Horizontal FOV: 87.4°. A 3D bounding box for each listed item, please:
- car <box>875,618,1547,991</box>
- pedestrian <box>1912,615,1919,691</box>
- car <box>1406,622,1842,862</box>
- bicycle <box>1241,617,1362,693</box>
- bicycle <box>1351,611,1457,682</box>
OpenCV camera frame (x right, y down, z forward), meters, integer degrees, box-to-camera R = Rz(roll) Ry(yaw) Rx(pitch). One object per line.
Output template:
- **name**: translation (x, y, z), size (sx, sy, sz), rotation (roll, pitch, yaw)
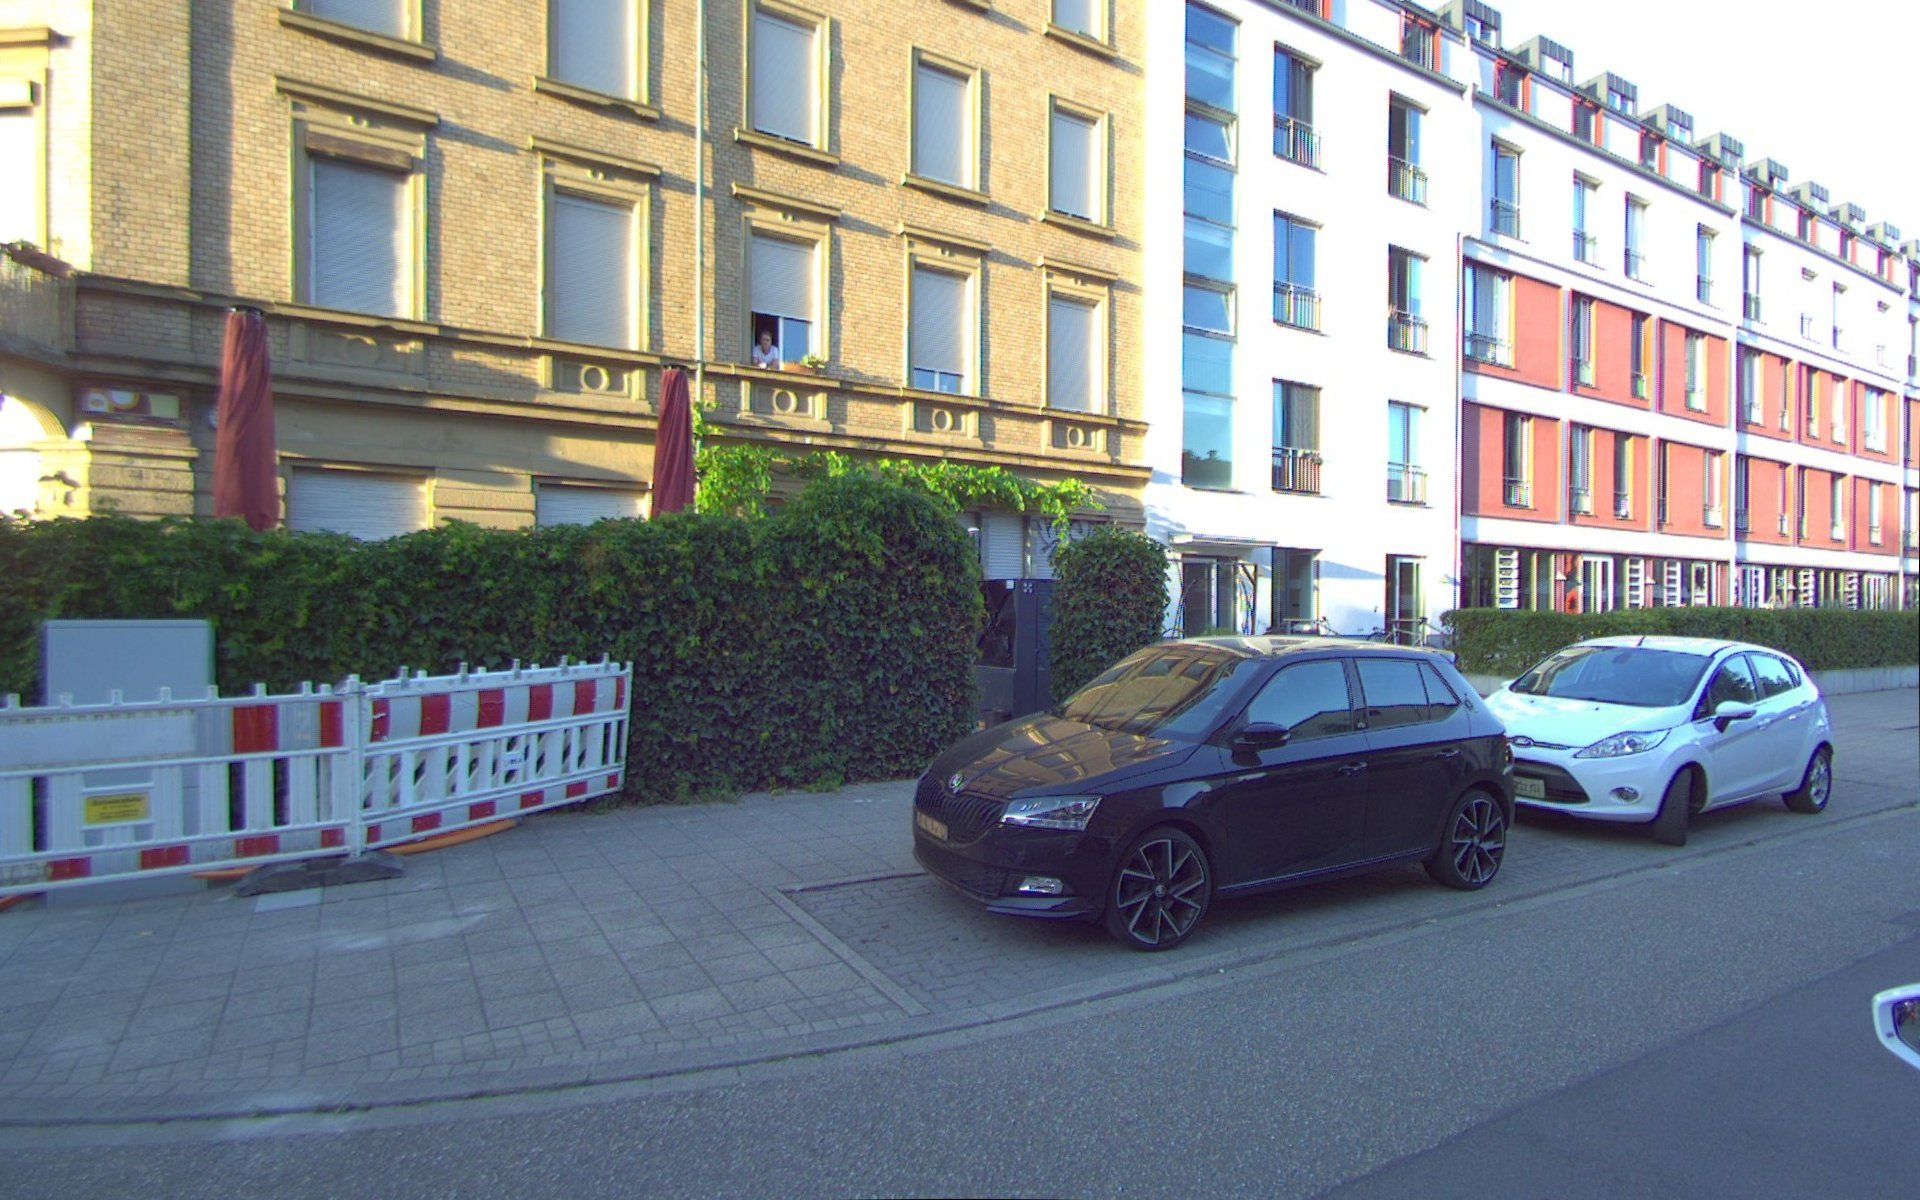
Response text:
- **car**: translation (1.571, 0.907, 5.982), size (3.799, 1.555, 1.695), rotation (1, 0, -31)
- **pedestrian**: translation (19.846, 1.084, 20.186), size (0.788, 1.521, 0.828), rotation (1, 1, -30)
- **car**: translation (5.672, 0.979, 8.445), size (3.974, 1.550, 1.641), rotation (1, 0, -34)
- **bicycle**: translation (5.773, 0.901, 17.096), size (0.802, 1.157, 1.907), rotation (1, 1, -29)
- **bicycle**: translation (8.059, 0.818, 18.320), size (0.602, 1.163, 1.769), rotation (1, 1, -27)
